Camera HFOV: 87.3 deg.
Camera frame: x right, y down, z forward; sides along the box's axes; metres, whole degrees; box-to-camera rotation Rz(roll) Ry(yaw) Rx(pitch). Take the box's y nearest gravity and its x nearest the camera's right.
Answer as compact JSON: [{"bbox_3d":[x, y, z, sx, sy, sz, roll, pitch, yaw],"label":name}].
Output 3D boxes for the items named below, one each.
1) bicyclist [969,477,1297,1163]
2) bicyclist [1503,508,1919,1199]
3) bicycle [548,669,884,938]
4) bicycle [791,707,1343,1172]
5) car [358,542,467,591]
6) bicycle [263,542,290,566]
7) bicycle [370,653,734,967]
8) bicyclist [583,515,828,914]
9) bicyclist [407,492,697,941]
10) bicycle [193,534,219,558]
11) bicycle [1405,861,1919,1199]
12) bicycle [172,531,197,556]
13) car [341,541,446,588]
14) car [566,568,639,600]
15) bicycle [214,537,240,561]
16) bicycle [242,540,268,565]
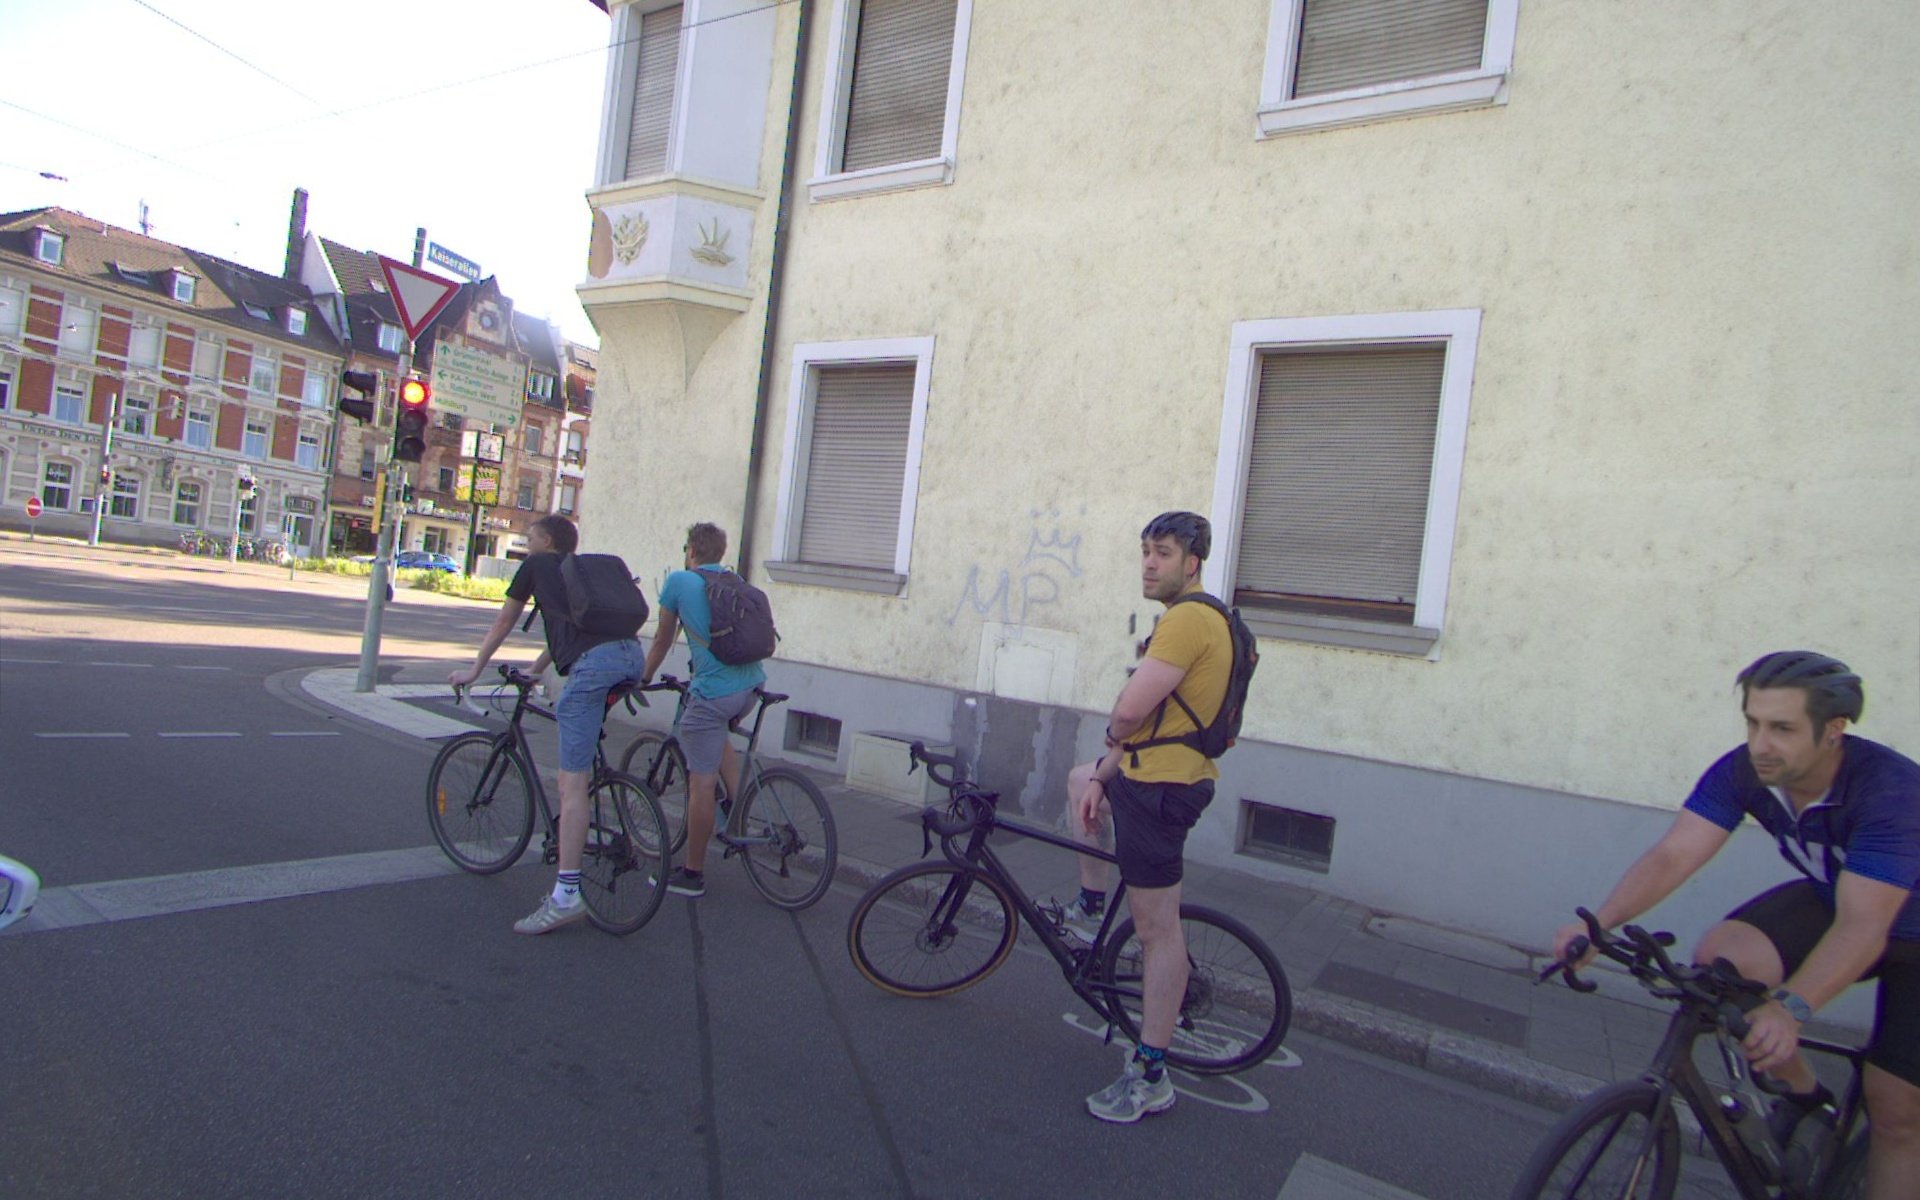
[{"bbox_3d":[0.633,0.667,3.482,0.763,1.990,0.783,7,0,18],"label":"bicyclist"},{"bbox_3d":[2.047,0.694,2.366,0.717,1.718,1.018,5,3,-8],"label":"bicyclist"},{"bbox_3d":[-1.305,0.971,5.210,1.753,0.995,0.504,6,-1,32],"label":"bicycle"},{"bbox_3d":[0.397,1.092,3.672,1.709,1.119,0.783,7,-1,18],"label":"bicycle"},{"bbox_3d":[-25.438,-1.520,46.873,1.775,1.641,3.994,6,-2,33],"label":"car"},{"bbox_3d":[-33.051,-2.234,48.651,0.789,1.027,2.186,8,-2,-39],"label":"bicycle"},{"bbox_3d":[-1.888,0.857,4.542,1.753,1.003,0.482,6,-1,32],"label":"bicycle"},{"bbox_3d":[-1.332,0.545,5.260,0.960,1.868,0.504,6,-1,32],"label":"bicyclist"},{"bbox_3d":[-1.840,0.470,4.546,0.920,1.787,0.590,6,-1,32],"label":"bicyclist"},{"bbox_3d":[-34.759,-2.480,46.382,0.762,0.979,2.186,8,-2,-39],"label":"bicycle"},{"bbox_3d":[1.996,1.286,2.403,1.597,1.090,0.554,5,3,-8],"label":"bicycle"},{"bbox_3d":[-35.361,-2.581,45.857,0.762,0.974,2.186,8,-2,-39],"label":"bicycle"},{"bbox_3d":[-27.617,-1.717,49.162,1.775,1.641,3.994,6,-2,33],"label":"car"},{"bbox_3d":[-23.122,-1.045,65.173,1.842,1.454,3.985,6,-2,35],"label":"car"},{"bbox_3d":[-34.262,-2.389,47.004,0.762,0.995,2.186,8,-2,-39],"label":"bicycle"},{"bbox_3d":[-33.617,-2.278,47.956,0.762,1.019,2.196,8,-2,-39],"label":"bicycle"}]
